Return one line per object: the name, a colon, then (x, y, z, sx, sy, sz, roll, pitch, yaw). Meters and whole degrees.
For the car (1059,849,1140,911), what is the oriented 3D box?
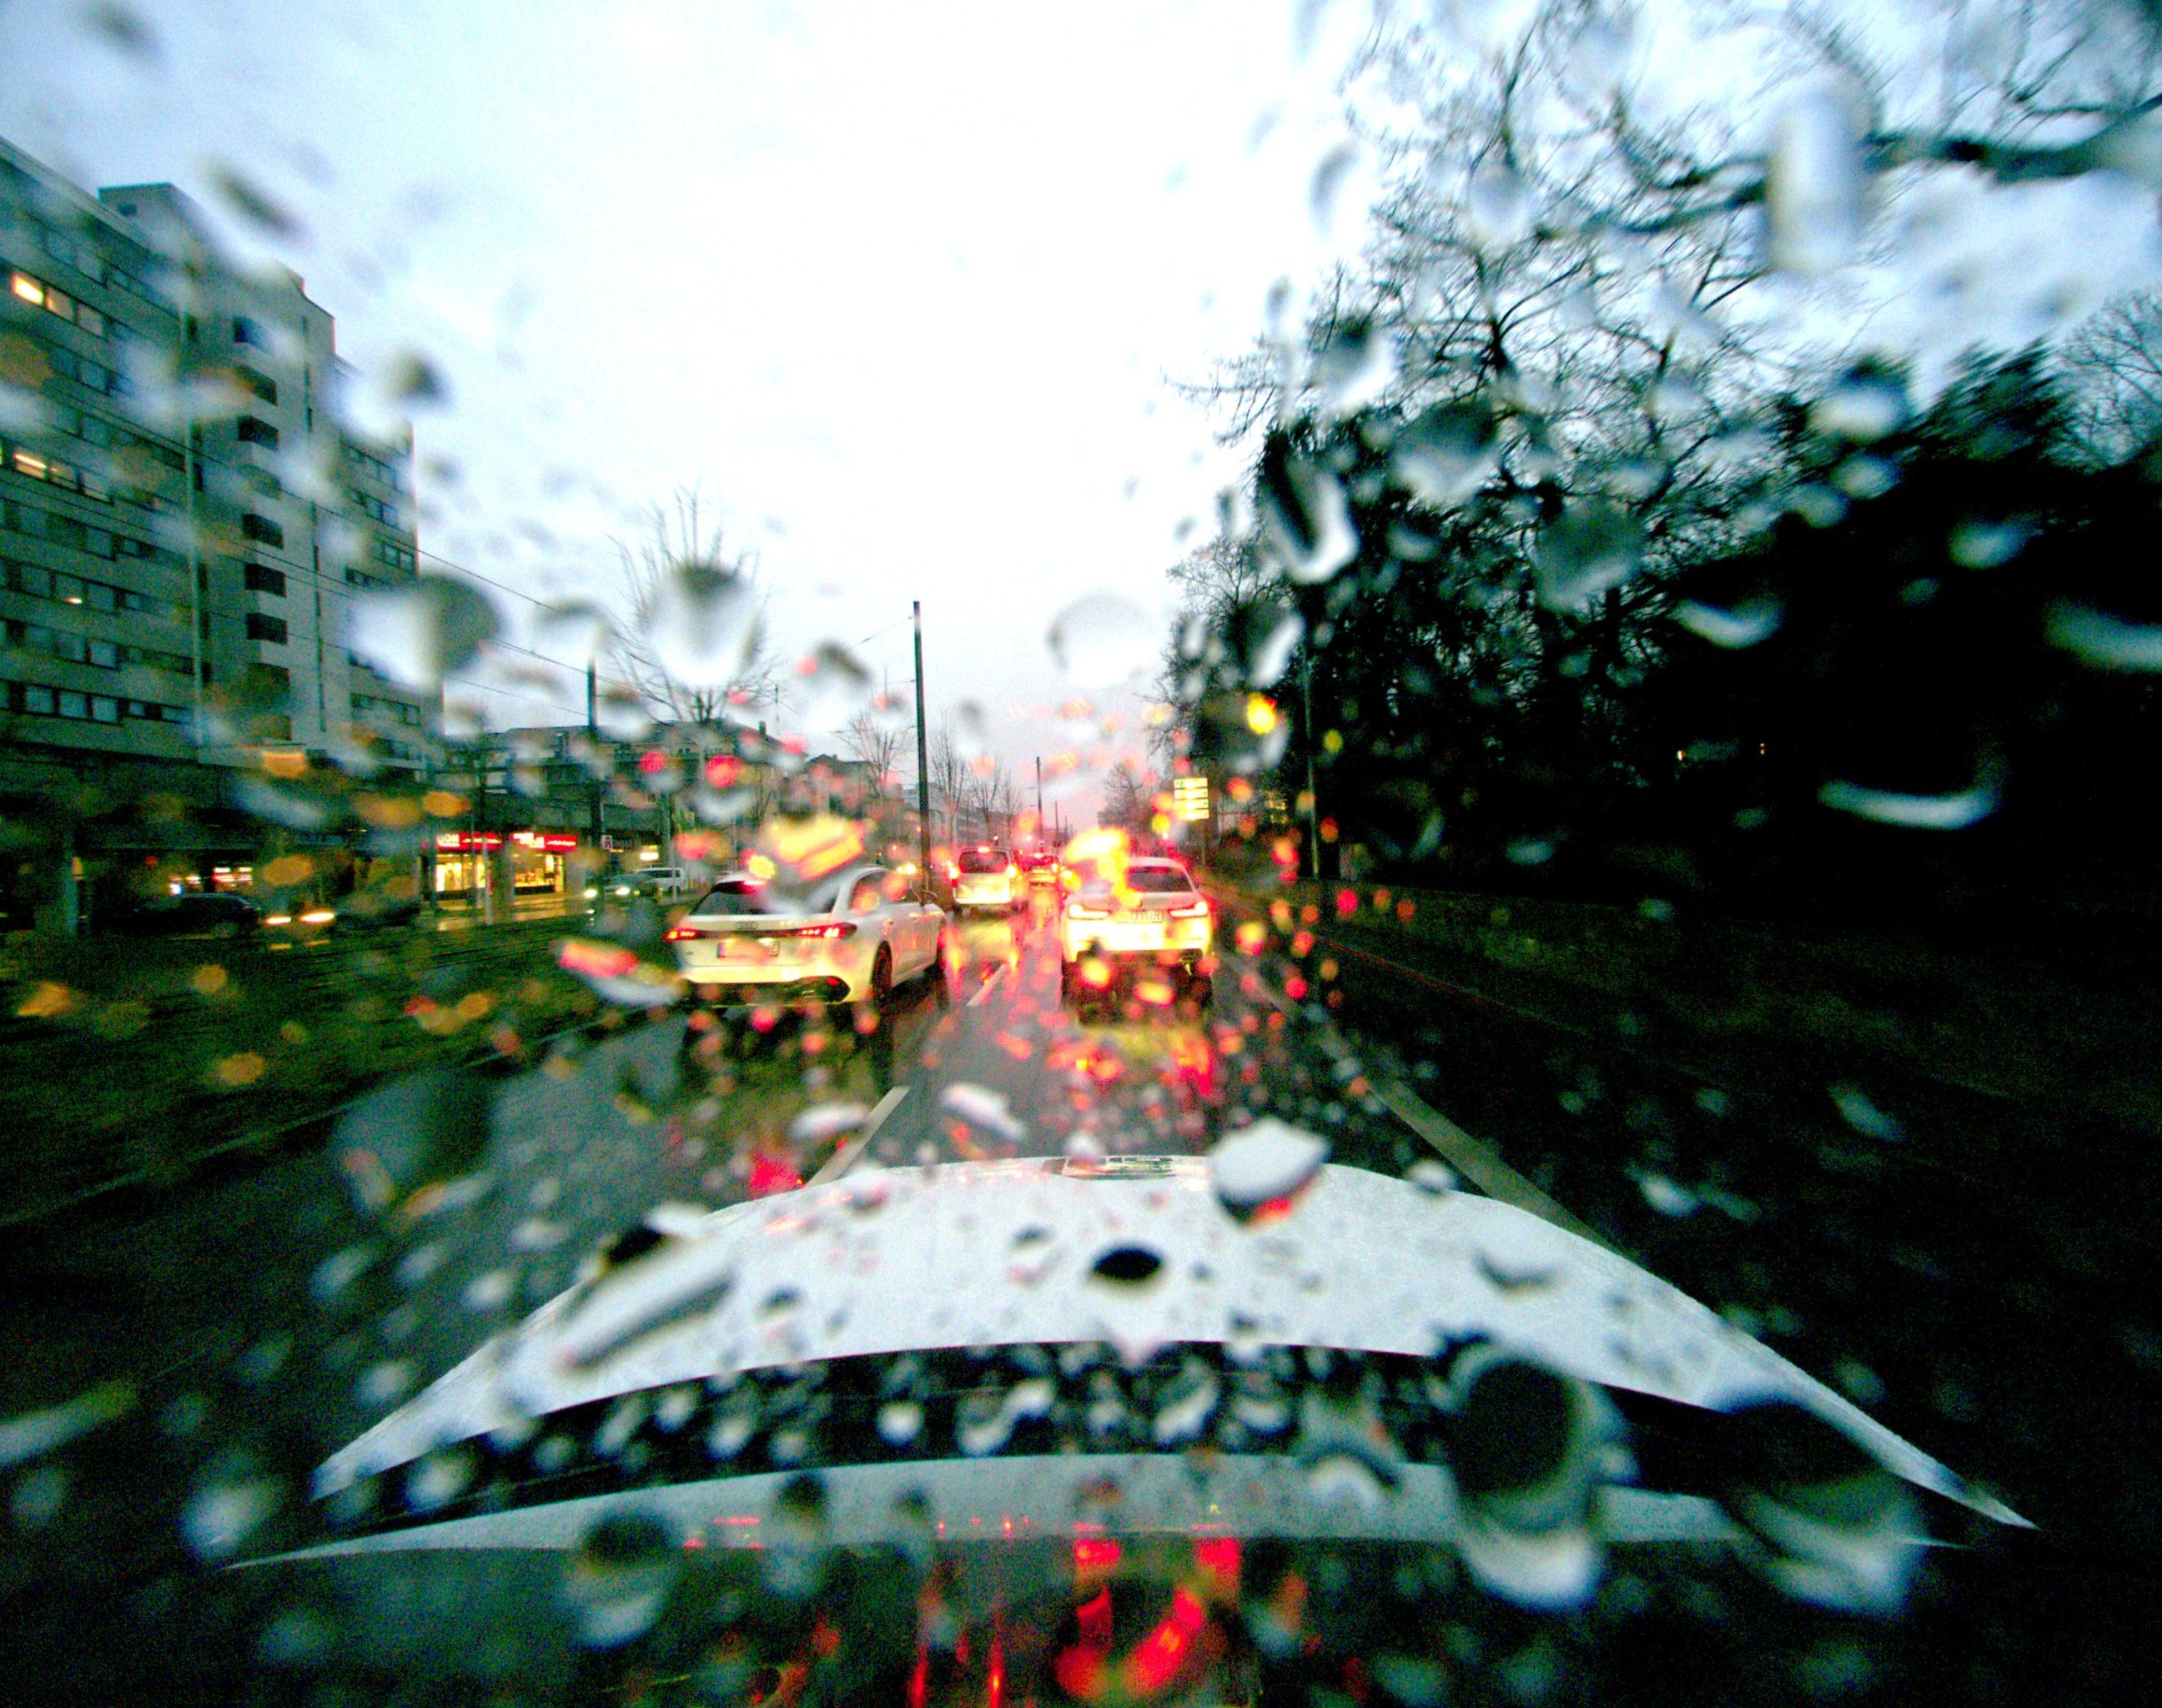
car: (0.513, 0.630, 21.851, 1.929, 1.457, 4.165, -2, 0, 2)

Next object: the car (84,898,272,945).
car: (-31.456, 2.317, 28.563, 4.015, 1.387, 1.916, 0, -1, -34)

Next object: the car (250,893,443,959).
car: (-24.549, 2.340, 27.534, 1.888, 1.719, 4.919, -2, 0, 2)

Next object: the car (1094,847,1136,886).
car: (1.541, 0.550, 37.224, 1.800, 1.646, 4.002, -1, 0, 2)

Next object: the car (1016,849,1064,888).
car: (-1.785, 0.604, 36.697, 1.800, 1.646, 4.002, -1, 0, 2)

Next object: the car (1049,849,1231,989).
car: (0.722, 0.717, 11.168, 1.992, 1.508, 4.165, -2, 0, 2)

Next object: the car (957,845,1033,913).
car: (-2.356, 0.652, 23.361, 1.788, 1.736, 4.534, -1, 0, -2)

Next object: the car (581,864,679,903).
car: (-22.734, 1.457, 41.335, 1.887, 1.719, 4.922, -2, 0, 4)

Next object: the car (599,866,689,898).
car: (-30.628, 1.941, 57.197, 5.193, 1.912, 1.975, -3, 0, -44)

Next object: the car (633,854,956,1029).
car: (-2.724, 0.731, 9.027, 1.840, 1.405, 4.615, -1, 0, 1)

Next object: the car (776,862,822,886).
car: (-24.820, 1.734, 71.759, 1.986, 1.912, 5.166, -3, 0, 2)

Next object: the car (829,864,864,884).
car: (-21.888, 1.864, 76.194, 1.890, 1.634, 4.580, -2, 0, 0)
